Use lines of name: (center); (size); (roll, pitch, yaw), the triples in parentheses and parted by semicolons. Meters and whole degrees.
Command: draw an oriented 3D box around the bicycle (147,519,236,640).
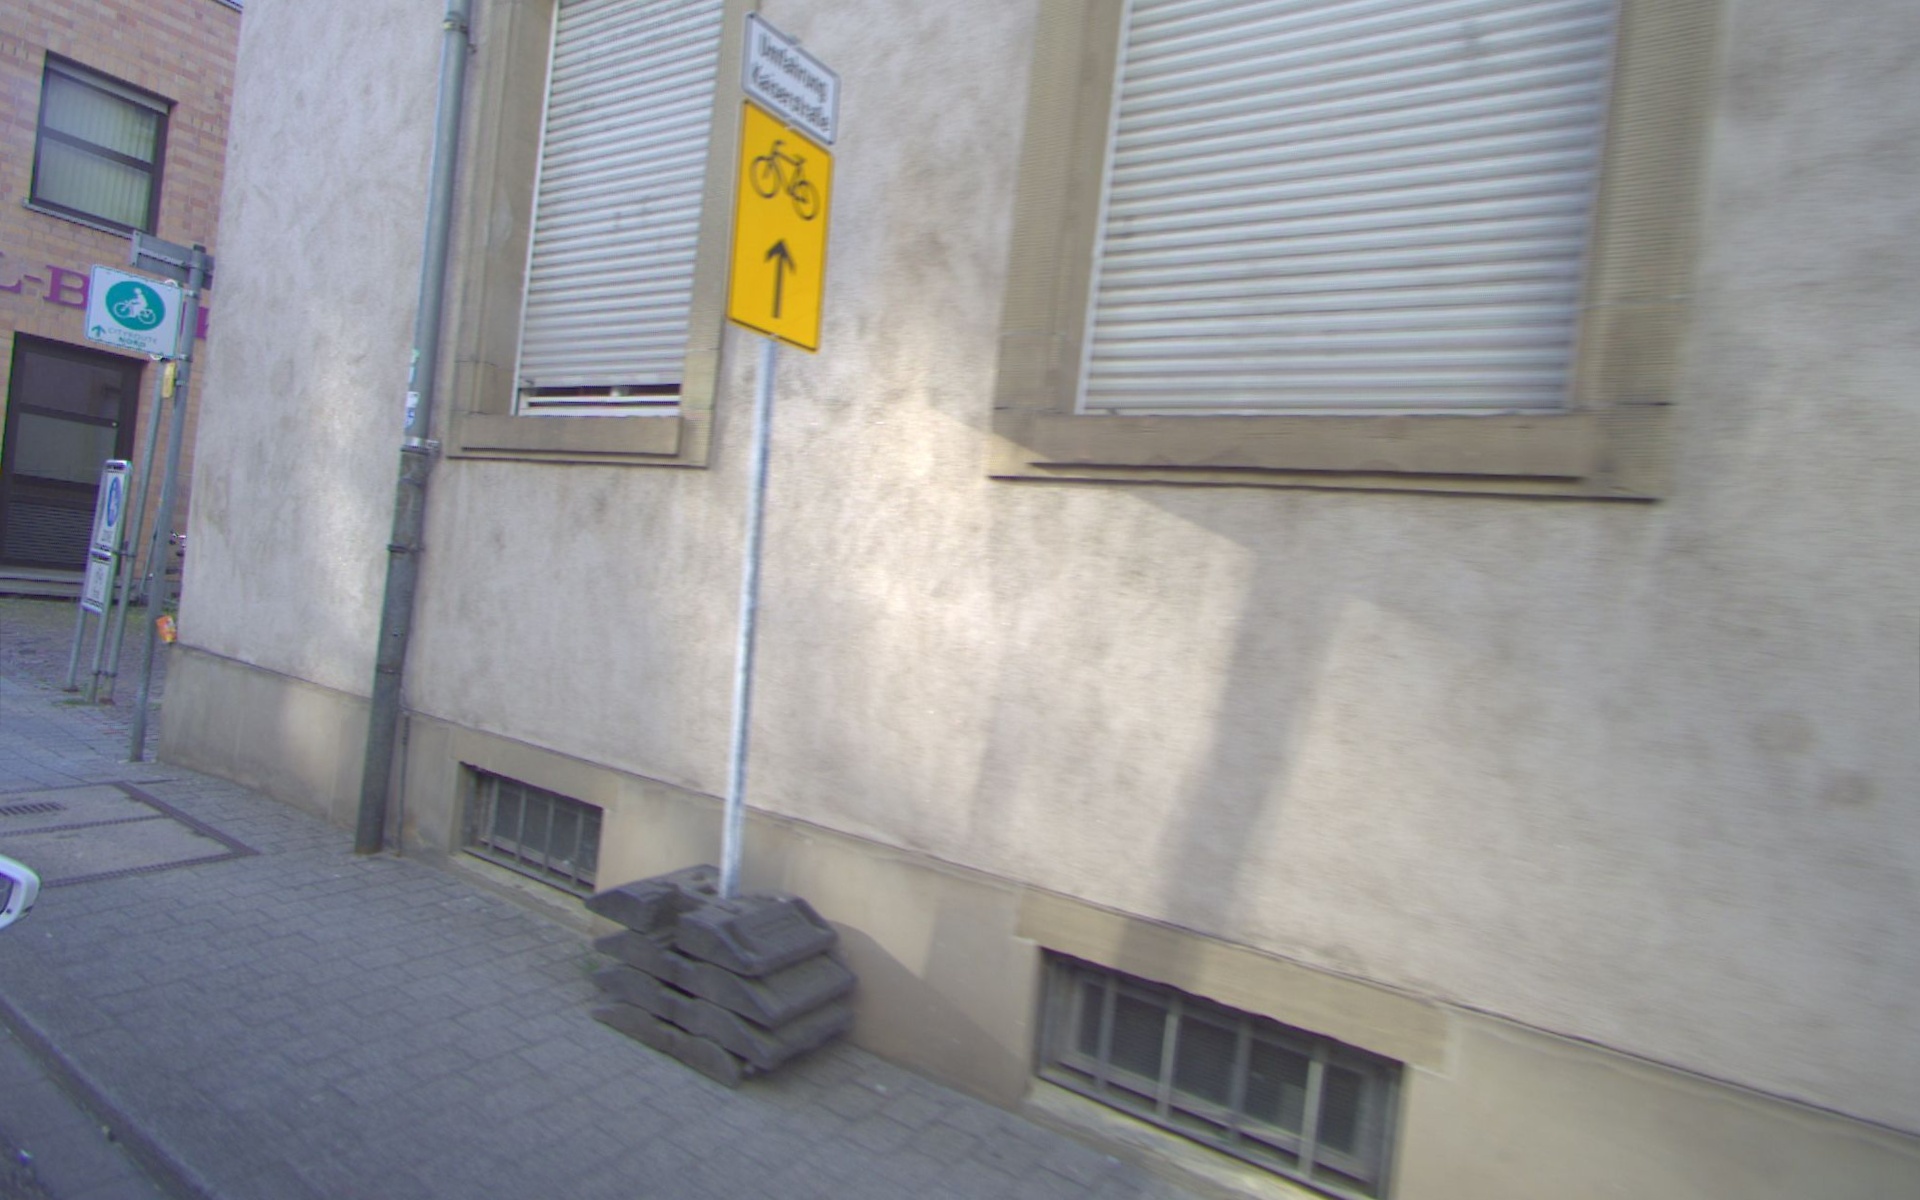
bicycle: (-9.536, -0.275, 12.455); (1.625, 1.333, 0.549); (7, 1, 44)
